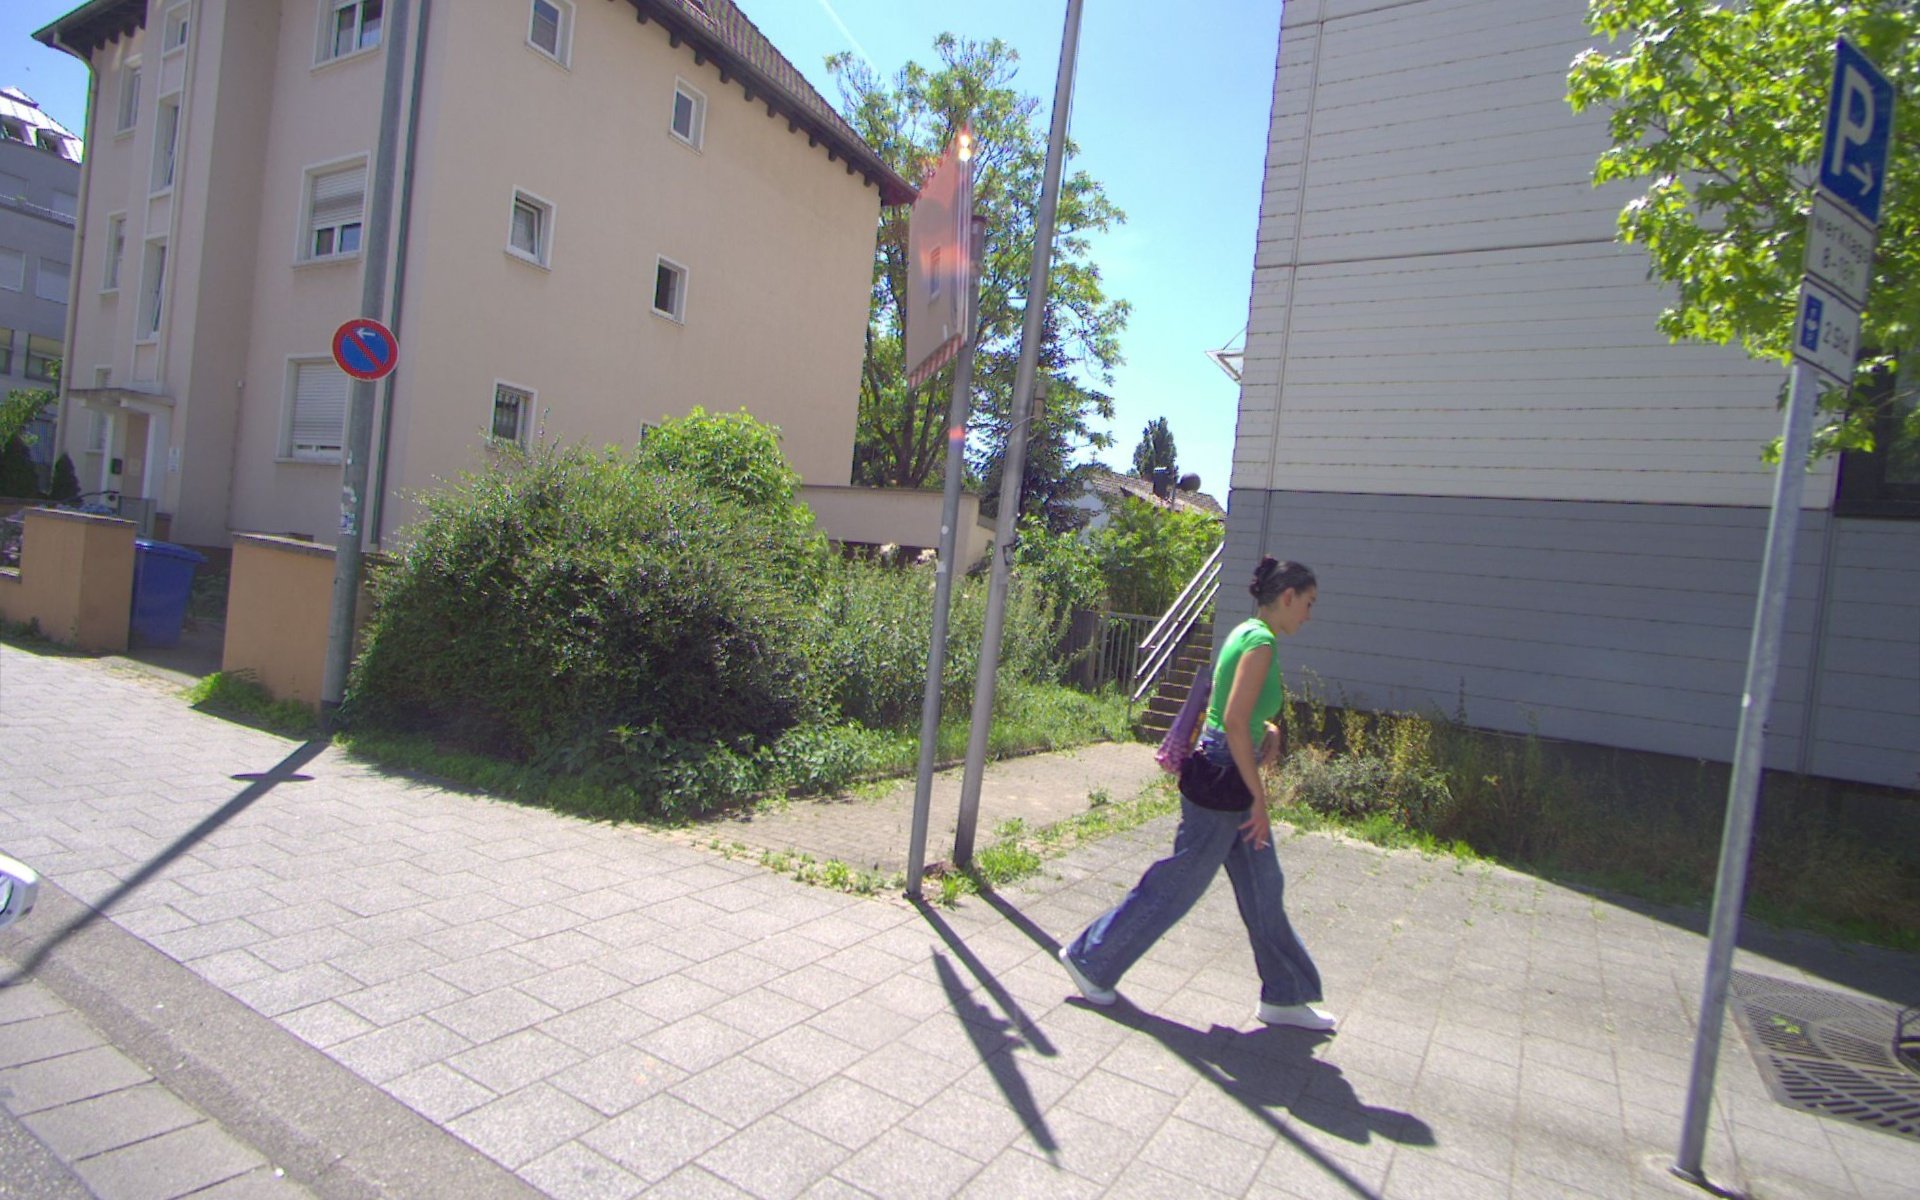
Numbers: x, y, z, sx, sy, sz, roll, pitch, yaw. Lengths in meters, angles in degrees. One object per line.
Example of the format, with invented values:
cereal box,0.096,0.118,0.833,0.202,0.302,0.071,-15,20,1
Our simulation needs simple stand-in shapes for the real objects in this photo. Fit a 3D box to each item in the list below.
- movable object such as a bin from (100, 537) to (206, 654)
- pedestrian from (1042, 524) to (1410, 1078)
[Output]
movable object such as a bin,-8.266,-0.039,10.311,0.622,1.114,0.625,7,1,33
pedestrian,0.944,0.648,3.691,1.030,1.722,0.681,6,2,15
